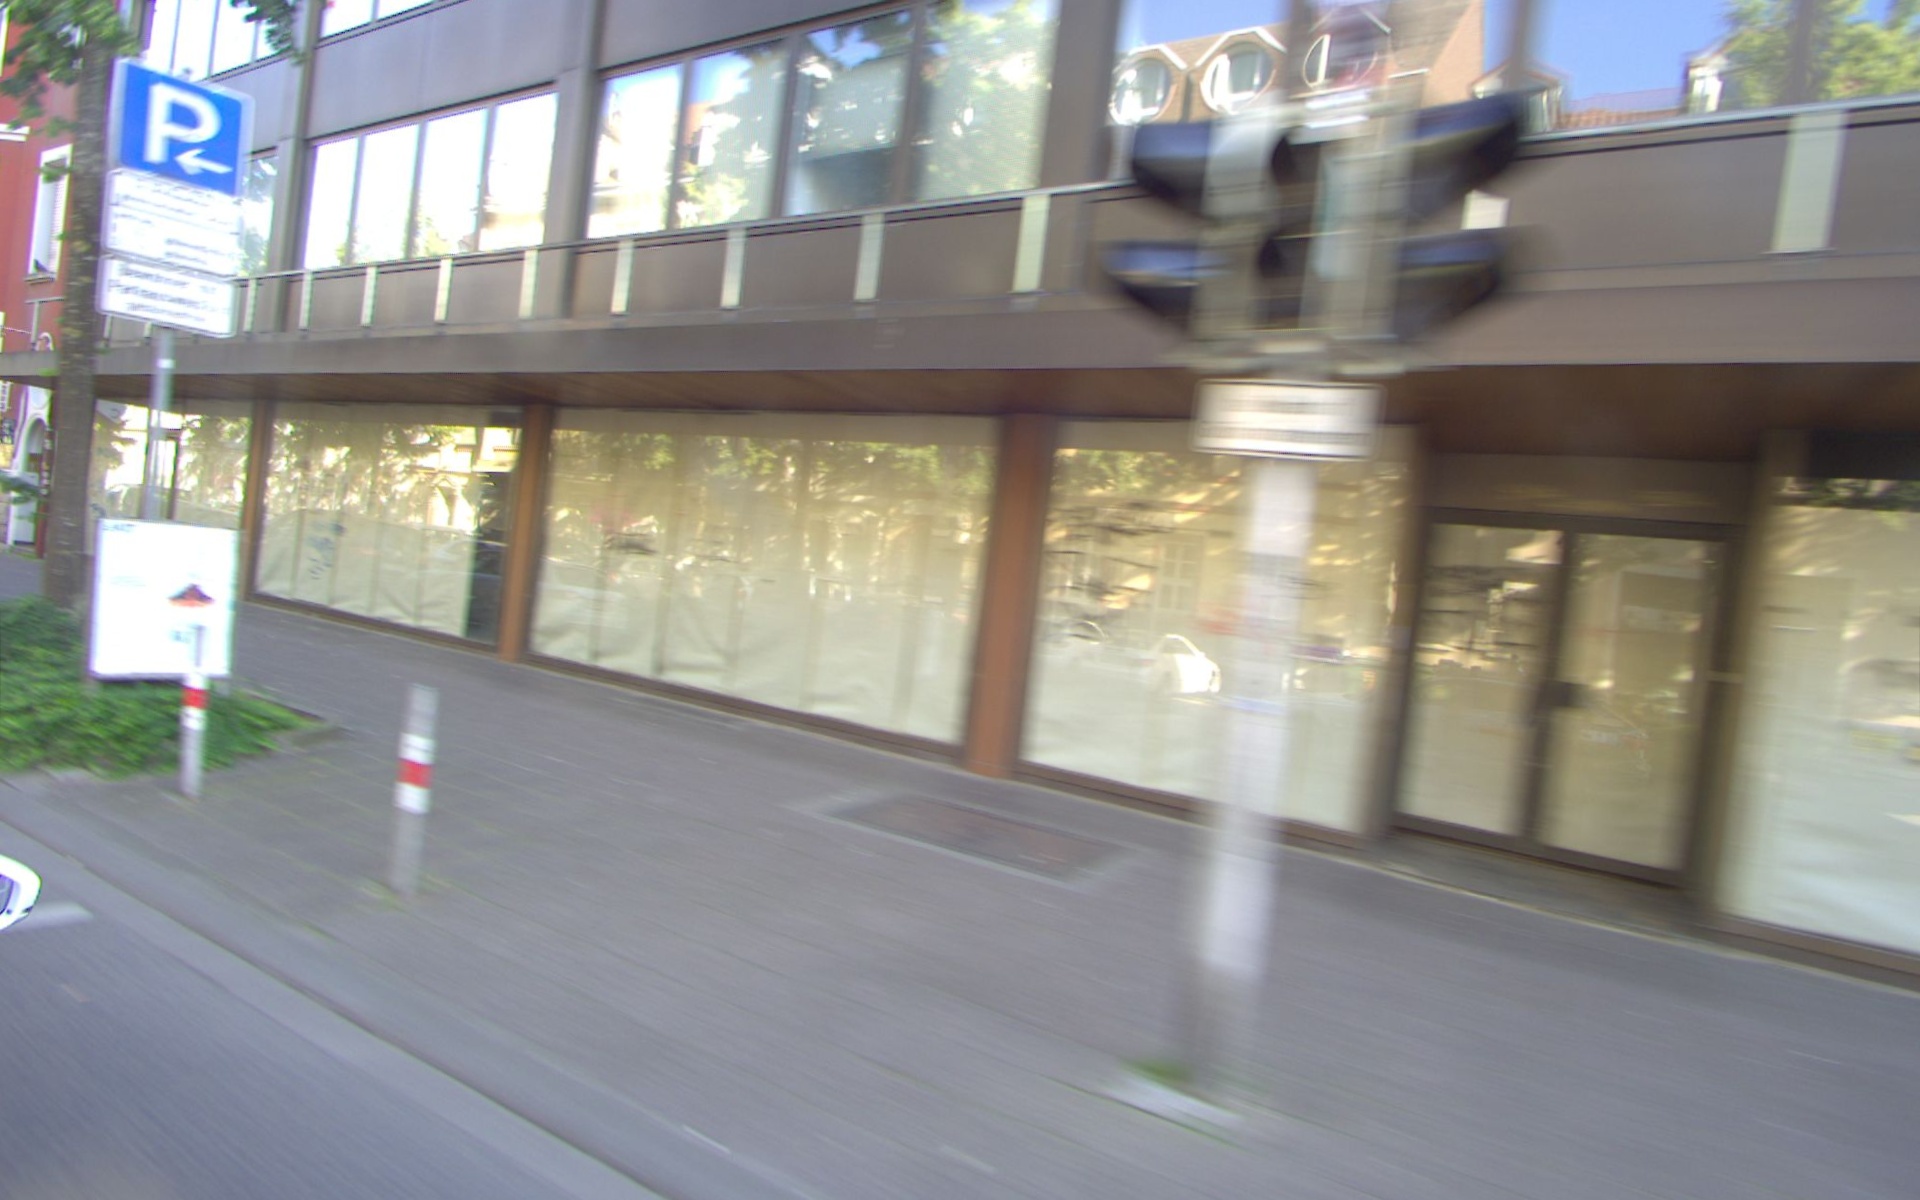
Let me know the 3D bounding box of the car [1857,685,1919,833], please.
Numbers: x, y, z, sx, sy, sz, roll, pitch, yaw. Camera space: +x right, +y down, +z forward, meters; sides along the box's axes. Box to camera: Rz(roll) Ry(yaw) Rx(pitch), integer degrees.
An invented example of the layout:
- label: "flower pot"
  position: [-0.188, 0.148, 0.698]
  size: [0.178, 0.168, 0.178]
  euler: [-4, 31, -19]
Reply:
- label: "car"
  position: [14.050, 2.313, 12.194]
  size: [2.078, 1.953, 4.953]
  euler: [7, 0, 7]
